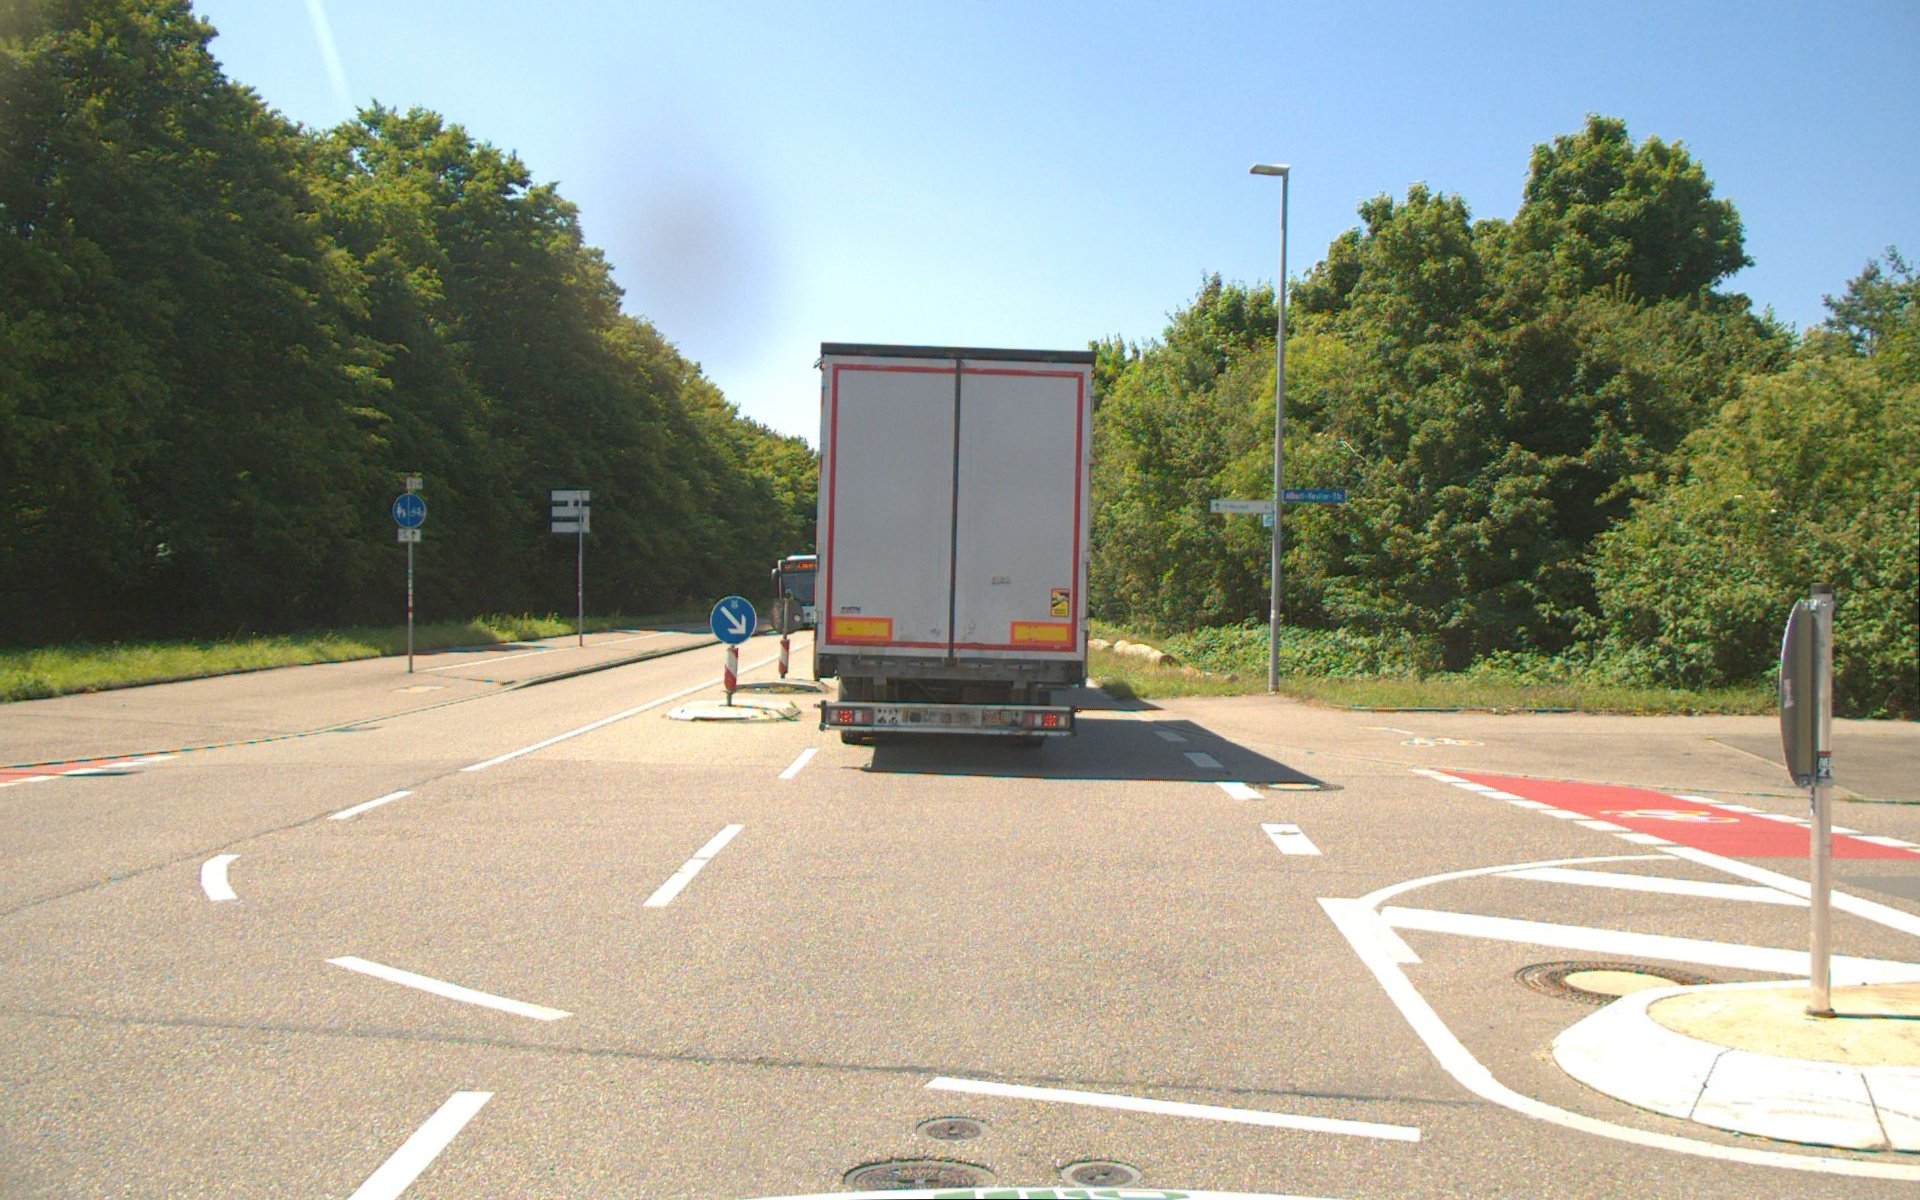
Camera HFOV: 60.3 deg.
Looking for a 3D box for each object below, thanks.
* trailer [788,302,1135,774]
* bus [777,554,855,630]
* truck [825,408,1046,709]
[{"bbox_3d":[-0.206,-0.572,19.624,3.016,4.141,9.803,1,0,-3],"label":"trailer"},{"bbox_3d":[-6.342,-0.381,74.510,2.694,3.098,11.935,-1,0,-1],"label":"bus"},{"bbox_3d":[-0.535,-0.600,27.055,3.016,4.141,7.954,1,0,-3],"label":"truck"}]
